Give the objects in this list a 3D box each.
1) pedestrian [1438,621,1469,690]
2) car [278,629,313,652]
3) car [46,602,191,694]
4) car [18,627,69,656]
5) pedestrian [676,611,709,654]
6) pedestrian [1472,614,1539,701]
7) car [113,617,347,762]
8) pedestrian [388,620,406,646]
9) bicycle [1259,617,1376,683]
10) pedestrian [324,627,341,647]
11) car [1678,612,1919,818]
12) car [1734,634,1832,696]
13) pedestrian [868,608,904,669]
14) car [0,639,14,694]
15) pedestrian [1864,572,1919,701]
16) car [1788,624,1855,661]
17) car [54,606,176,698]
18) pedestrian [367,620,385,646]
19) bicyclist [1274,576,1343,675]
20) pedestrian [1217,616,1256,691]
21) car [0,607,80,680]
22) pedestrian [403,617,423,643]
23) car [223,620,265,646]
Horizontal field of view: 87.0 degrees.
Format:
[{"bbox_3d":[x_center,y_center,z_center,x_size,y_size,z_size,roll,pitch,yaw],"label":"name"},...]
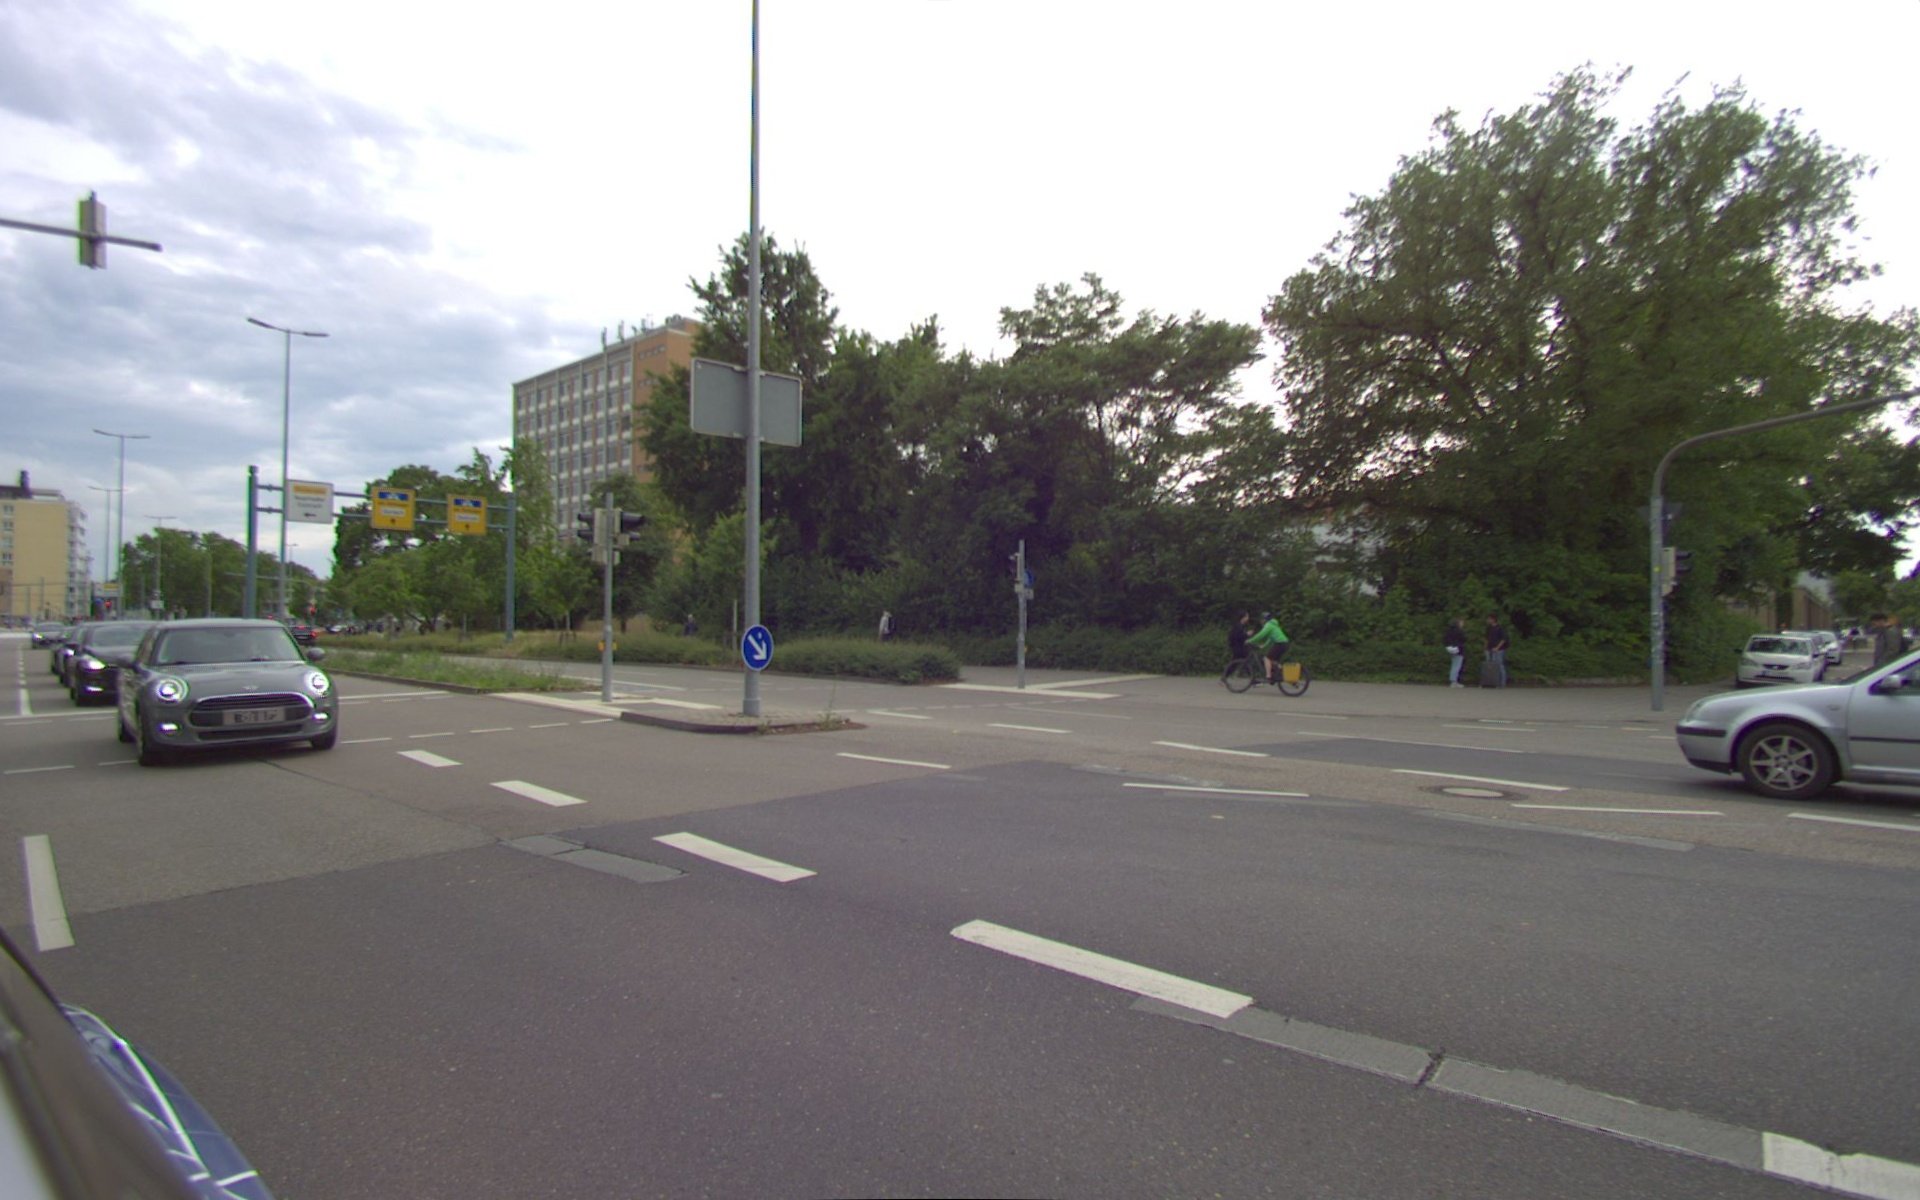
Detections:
[{"bbox_3d":[11.860,1.331,24.309,0.600,1.619,0.498,-1,-3,33],"label":"pedestrian"},{"bbox_3d":[-48.494,2.929,73.845,1.826,1.564,4.008,1,-2,-37],"label":"car"},{"bbox_3d":[-15.139,0.832,18.141,1.707,1.470,4.003,2,-3,-43],"label":"car"},{"bbox_3d":[-52.836,2.368,58.336,1.971,1.557,4.002,-1,0,-45],"label":"car"},{"bbox_3d":[-10.415,1.272,39.418,0.813,1.637,0.977,-2,-1,44],"label":"pedestrian"},{"bbox_3d":[13.021,1.354,24.194,1.089,2.029,1.037,-1,-1,12],"label":"pedestrian"},{"bbox_3d":[-8.201,0.887,11.244,1.602,1.328,3.708,2,-3,-43],"label":"car"},{"bbox_3d":[-45.043,2.605,80.926,1.220,2.029,0.871,-2,-1,38],"label":"pedestrian"},{"bbox_3d":[7.607,1.051,21.568,2.297,1.343,0.602,-1,-1,24],"label":"bicycle"},{"bbox_3d":[-65.730,3.890,106.025,1.206,2.029,1.521,0,-1,-44],"label":"pedestrian"},{"bbox_3d":[8.346,0.876,7.758,1.969,1.541,4.280,2,-3,-41],"label":"car"},{"bbox_3d":[22.108,1.687,27.147,1.862,1.461,3.546,-2,-2,42],"label":"car"},{"bbox_3d":[-2.559,1.315,34.990,0.895,2.029,0.824,-1,0,-39],"label":"pedestrian"},{"bbox_3d":[-23.189,1.556,23.462,1.678,1.197,2.834,-1,-1,-40],"label":"car"},{"bbox_3d":[15.578,0.572,16.304,1.135,2.029,1.175,-1,-1,23],"label":"pedestrian"},{"bbox_3d":[38.353,1.885,45.028,2.001,1.552,3.942,-2,-3,44],"label":"car"},{"bbox_3d":[-20.465,1.209,24.458,1.970,2.029,4.003,2,-3,-43],"label":"car"},{"bbox_3d":[-46.874,2.627,81.231,1.220,2.029,0.871,-2,-1,38],"label":"pedestrian"},{"bbox_3d":[7.403,0.529,21.445,1.273,2.029,1.175,-1,-1,23],"label":"bicyclist"},{"bbox_3d":[6.433,1.226,23.538,0.582,1.708,0.653,0,-1,-45],"label":"pedestrian"},{"bbox_3d":[-27.889,1.288,30.395,1.970,2.029,4.003,2,-3,-43],"label":"car"},{"bbox_3d":[-41.666,2.291,77.061,1.120,1.933,1.164,0,-1,-41],"label":"pedestrian"},{"bbox_3d":[-51.186,2.335,72.302,1.866,1.786,4.003,0,-1,-43],"label":"car"}]
